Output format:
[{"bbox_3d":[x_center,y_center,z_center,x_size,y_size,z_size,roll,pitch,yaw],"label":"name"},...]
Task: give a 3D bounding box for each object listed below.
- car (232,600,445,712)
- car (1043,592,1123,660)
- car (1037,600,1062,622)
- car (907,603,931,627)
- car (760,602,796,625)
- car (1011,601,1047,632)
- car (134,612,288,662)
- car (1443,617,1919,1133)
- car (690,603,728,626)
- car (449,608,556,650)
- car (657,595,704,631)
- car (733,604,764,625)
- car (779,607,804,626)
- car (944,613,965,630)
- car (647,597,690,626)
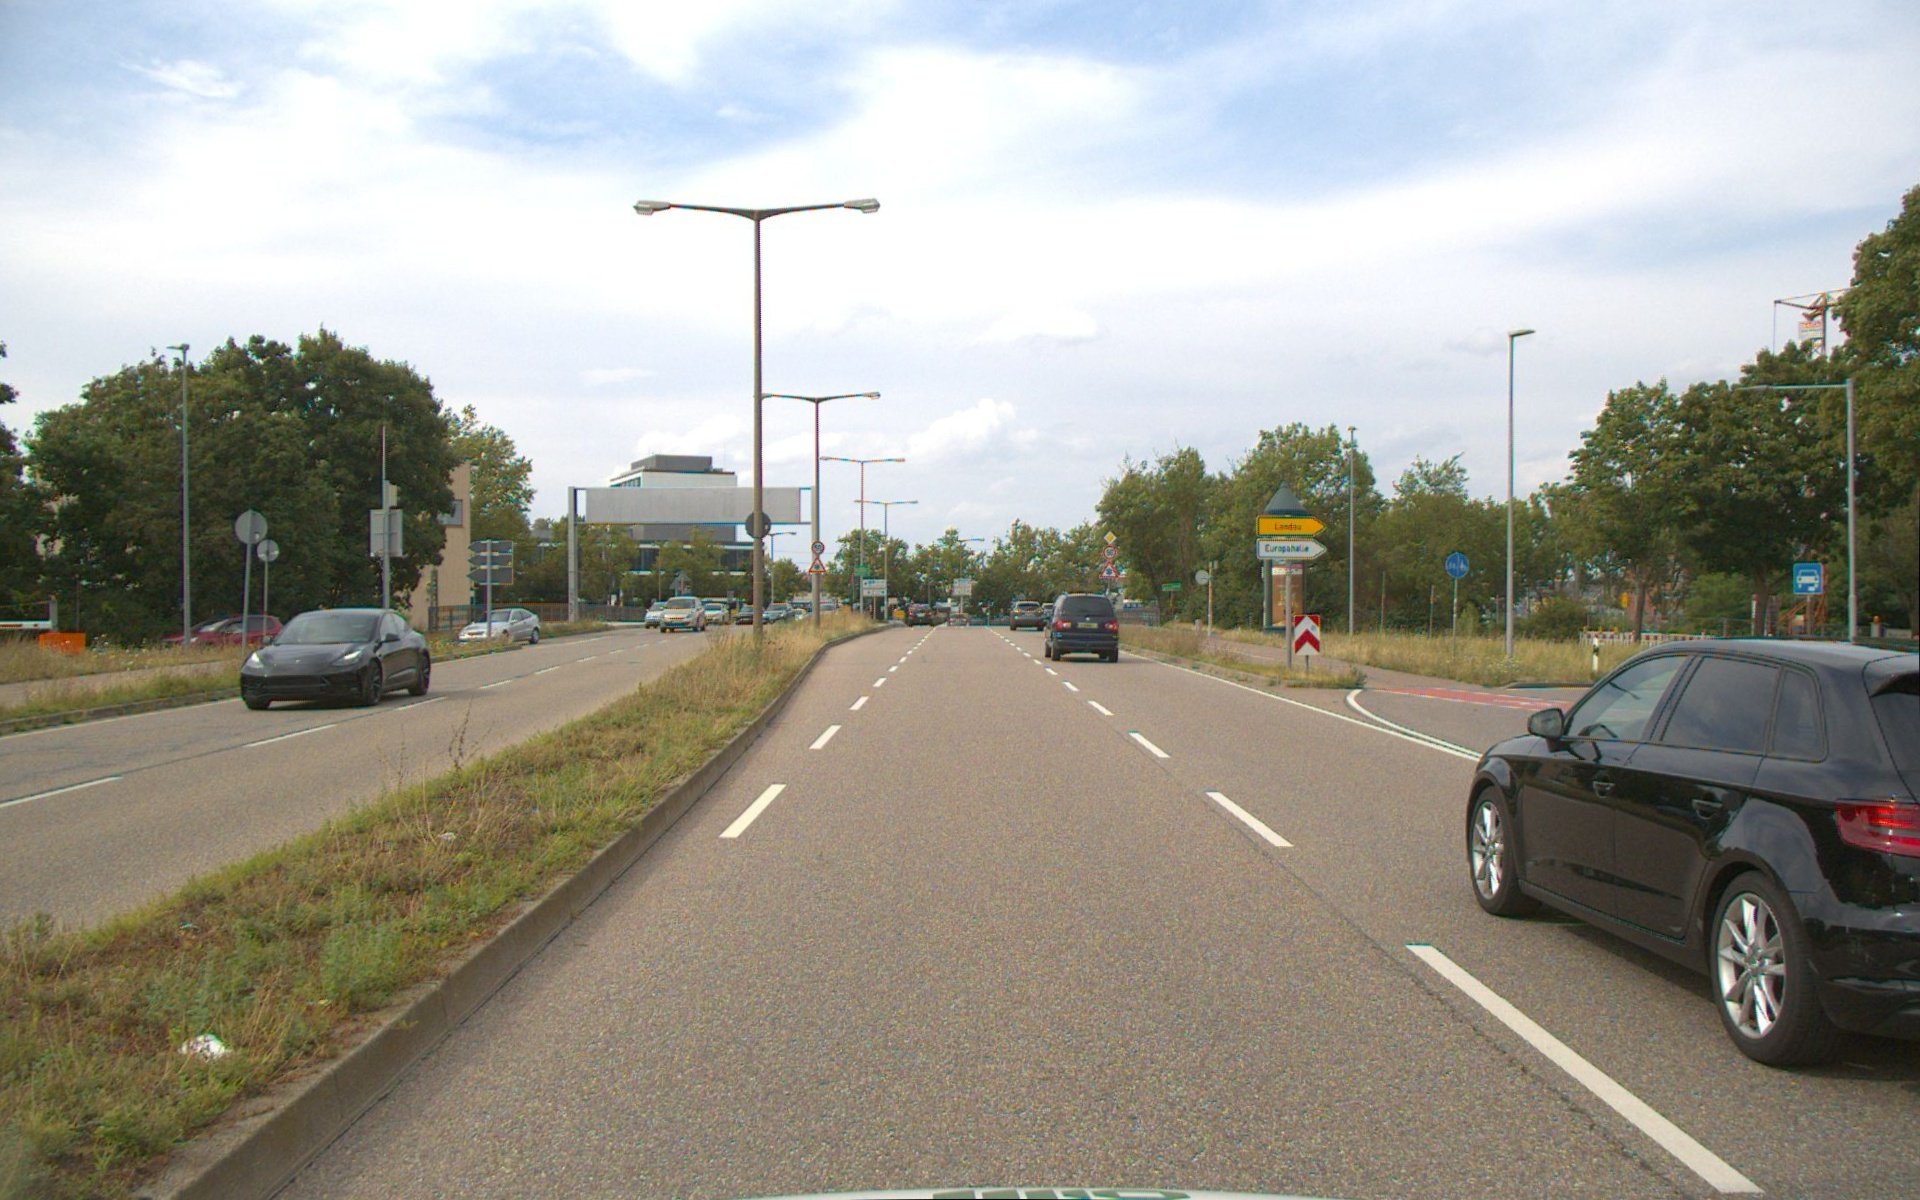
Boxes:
[{"bbox_3d":[-9.443,0.787,25.532,1.710,1.501,4.563,-1,0,-2],"label":"car"},{"bbox_3d":[3.202,0.657,43.744,1.695,1.682,4.114,1,0,-1],"label":"car"},{"bbox_3d":[6.255,0.756,115.811,1.476,1.472,3.139,1,1,-2],"label":"car"},{"bbox_3d":[-2.970,1.081,119.480,1.695,1.682,4.114,1,0,-1],"label":"car"},{"bbox_3d":[-12.499,0.939,113.804,1.631,1.450,4.520,-2,-1,3],"label":"car"},{"bbox_3d":[3.825,0.905,92.388,1.695,1.682,4.114,1,0,-1],"label":"car"},{"bbox_3d":[-23.066,1.117,51.094,1.486,1.392,4.165,-1,0,35],"label":"car"},{"bbox_3d":[3.483,0.815,6.801,1.695,1.419,4.114,1,0,-1],"label":"car"},{"bbox_3d":[-16.689,0.987,110.103,1.631,1.444,4.315,-2,-1,3],"label":"car"},{"bbox_3d":[-17.489,1.075,63.423,1.709,1.471,4.463,-1,0,19],"label":"car"},{"bbox_3d":[-13.300,0.594,78.910,1.710,1.626,4.562,-1,0,-3],"label":"car"},{"bbox_3d":[-16.213,1.105,126.968,1.756,1.551,4.593,-2,-1,-1],"label":"car"},{"bbox_3d":[-14.533,1.405,142.820,1.756,1.551,4.187,-2,-1,-1],"label":"car"},{"bbox_3d":[-0.545,2.025,158.809,1.696,1.553,4.111,1,0,-4],"label":"car"},{"bbox_3d":[-16.265,0.647,92.469,1.632,1.443,4.092,-1,1,0],"label":"car"}]
